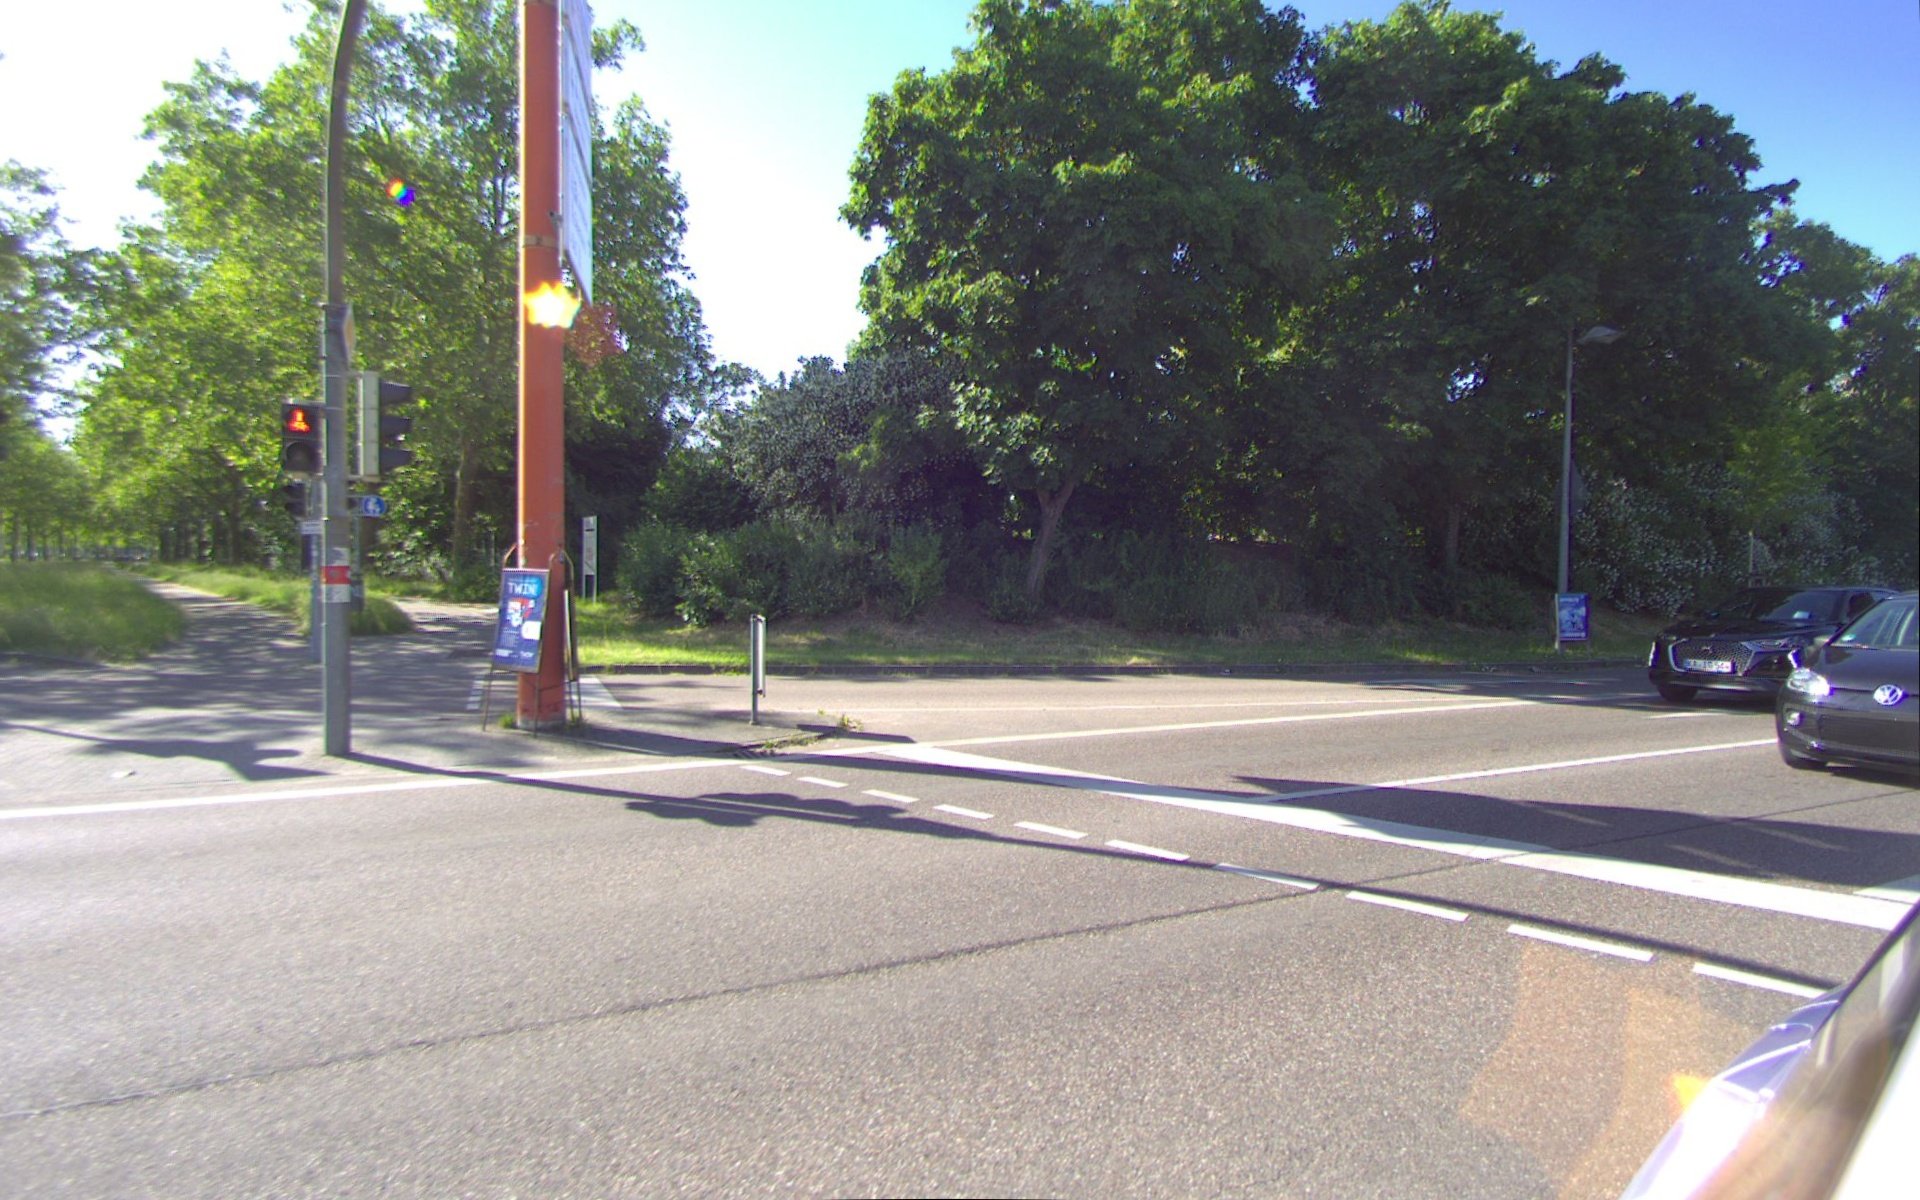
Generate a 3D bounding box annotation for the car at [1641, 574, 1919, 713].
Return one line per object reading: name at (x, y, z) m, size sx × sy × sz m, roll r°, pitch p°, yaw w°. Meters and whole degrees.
car at (10.585, 0.432, 12.672) m, size 3.882 × 1.512 × 1.718 m, roll -1°, pitch 1°, yaw -26°

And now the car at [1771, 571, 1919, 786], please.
car at (8.215, 0.542, 7.960) m, size 3.382 × 1.512 × 1.625 m, roll 0°, pitch 1°, yaw -27°
